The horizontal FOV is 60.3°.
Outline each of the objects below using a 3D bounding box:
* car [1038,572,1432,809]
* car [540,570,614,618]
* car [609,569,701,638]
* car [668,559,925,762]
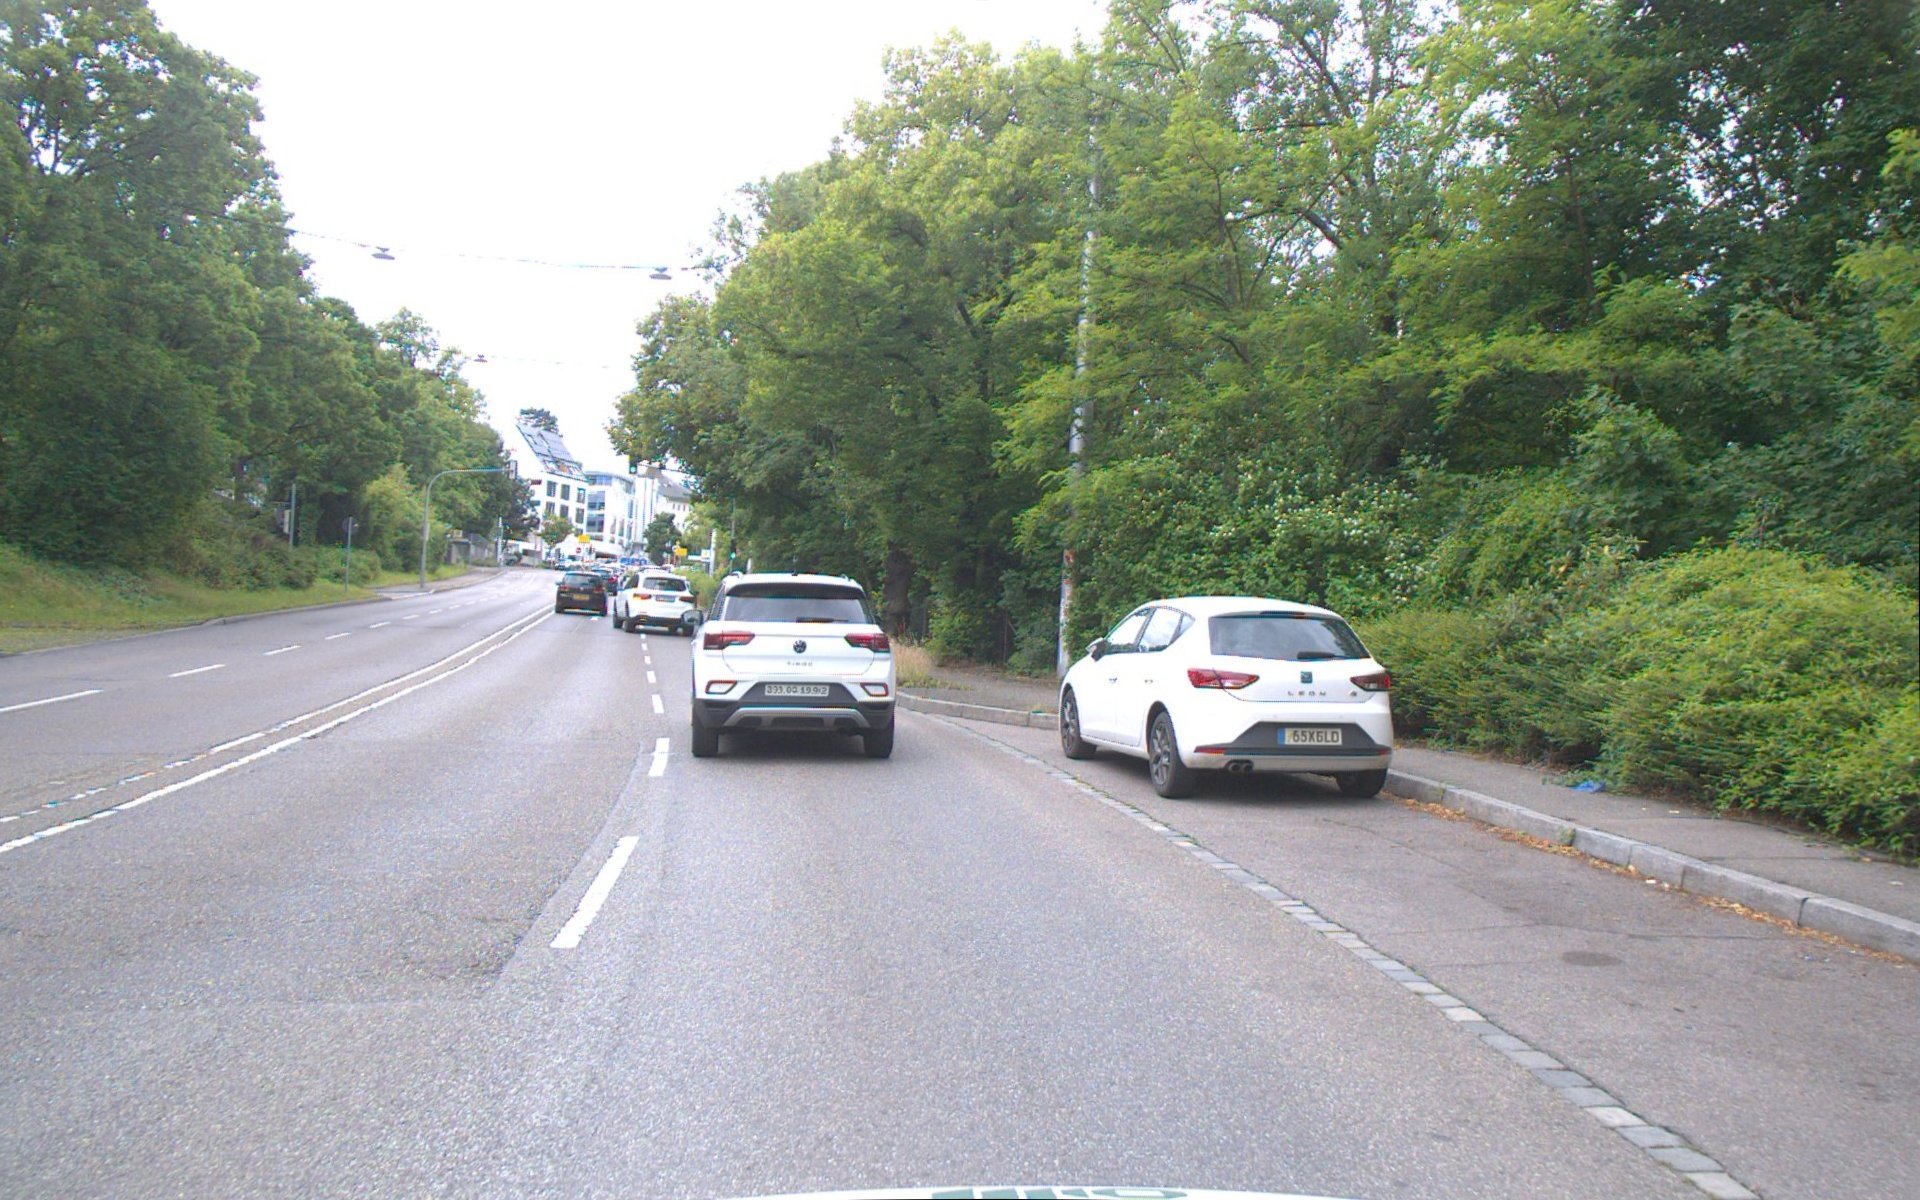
[{"bbox_3d":[2.014,0.597,13.664,1.701,1.508,4.691,2,1,-10],"label":"car"},{"bbox_3d":[-13.495,-0.232,58.115,1.922,1.491,3.974,2,1,-22],"label":"car"},{"bbox_3d":[-8.523,0.056,45.978,1.824,1.732,3.976,0,2,-21],"label":"car"},{"bbox_3d":[-1.664,0.469,15.453,1.965,1.624,3.988,0,0,-12],"label":"car"}]
